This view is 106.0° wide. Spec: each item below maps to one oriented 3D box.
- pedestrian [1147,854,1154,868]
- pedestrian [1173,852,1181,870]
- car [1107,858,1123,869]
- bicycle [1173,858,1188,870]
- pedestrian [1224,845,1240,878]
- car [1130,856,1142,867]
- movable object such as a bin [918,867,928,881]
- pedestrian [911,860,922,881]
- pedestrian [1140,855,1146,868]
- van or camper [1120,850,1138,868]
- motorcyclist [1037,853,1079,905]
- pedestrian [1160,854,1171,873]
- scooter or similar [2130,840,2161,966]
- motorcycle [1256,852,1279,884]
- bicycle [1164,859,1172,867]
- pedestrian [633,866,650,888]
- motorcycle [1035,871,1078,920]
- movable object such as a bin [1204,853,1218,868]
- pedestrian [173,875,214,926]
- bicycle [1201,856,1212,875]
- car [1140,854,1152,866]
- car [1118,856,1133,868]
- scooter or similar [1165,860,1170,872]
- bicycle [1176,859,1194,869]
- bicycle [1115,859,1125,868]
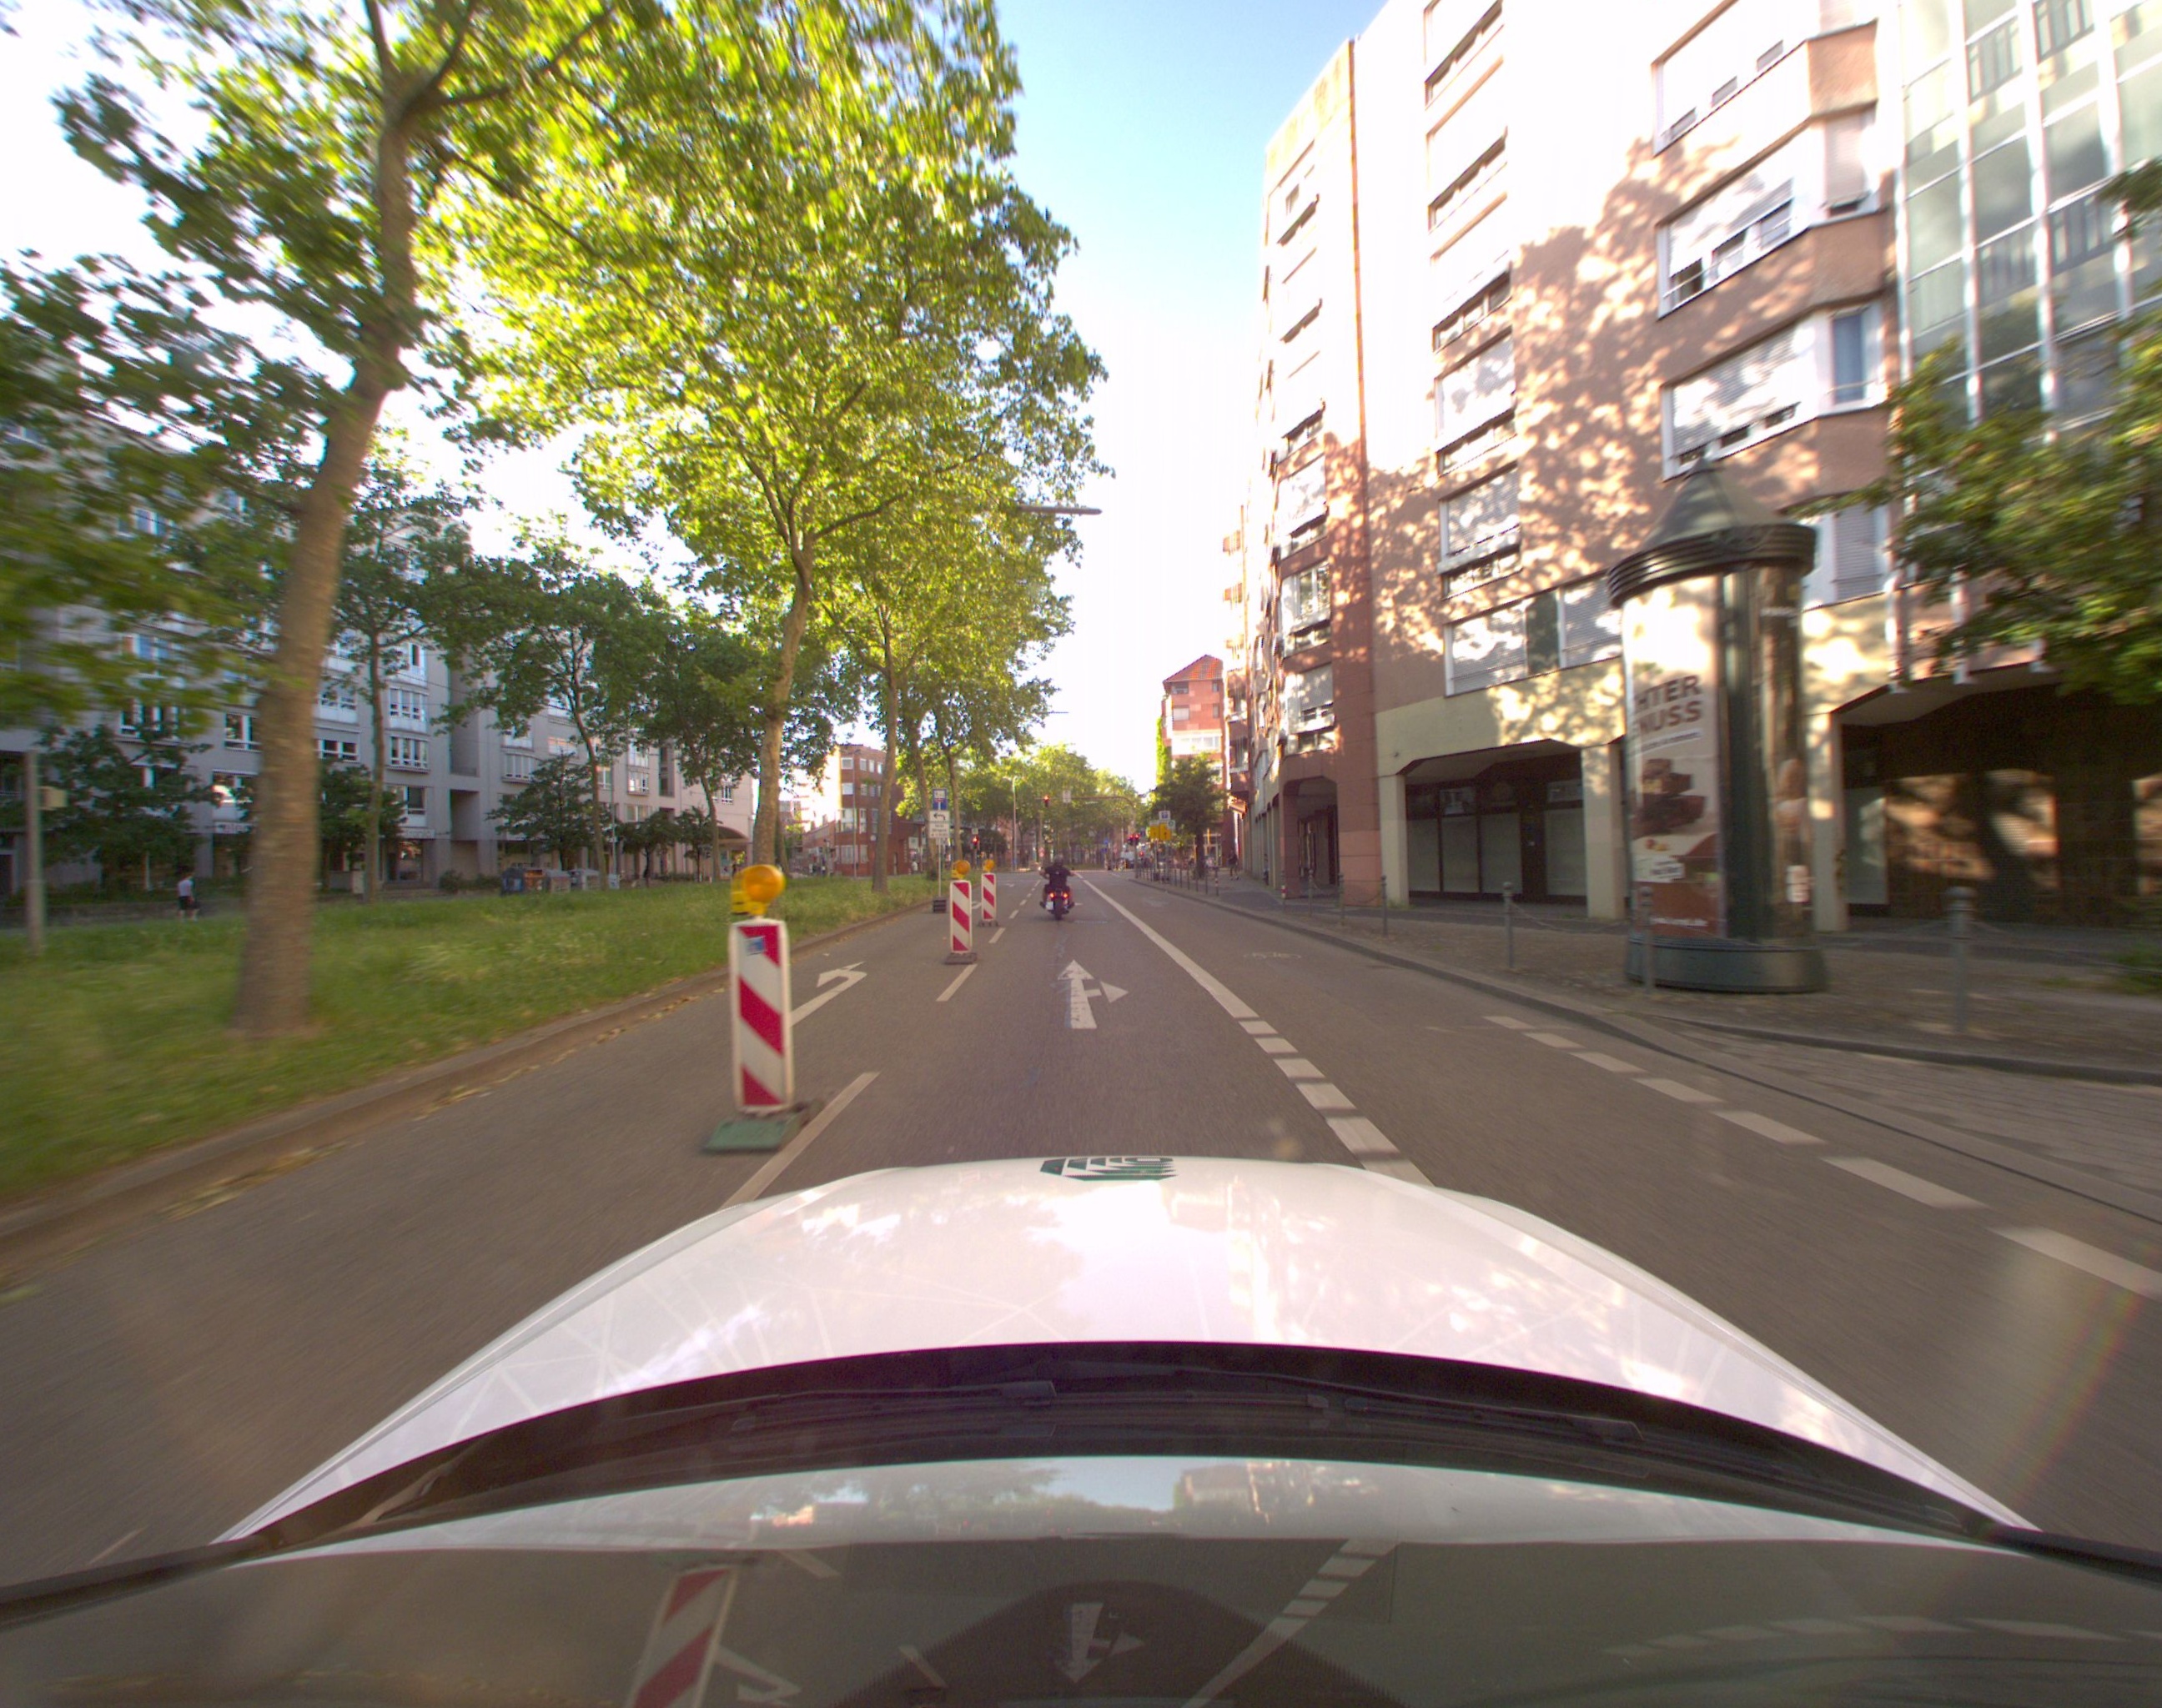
[{"bbox_3d":[8.679,0.927,101.700,0.697,1.733,0.768,-1,-1,2],"label":"pedestrian"},{"bbox_3d":[9.156,0.652,77.689,0.459,1.672,0.678,-1,-1,-9],"label":"pedestrian"},{"bbox_3d":[4.313,1.205,101.828,1.611,1.302,4.320,-2,0,7],"label":"car"},{"bbox_3d":[10.484,1.012,85.907,1.560,1.227,0.578,-2,-1,4],"label":"bicycle"},{"bbox_3d":[8.084,0.388,43.608,0.777,1.738,0.838,-2,0,7],"label":"pedestrian"},{"bbox_3d":[8.886,1.220,131.293,1.611,1.610,3.782,-2,0,7],"label":"car"},{"bbox_3d":[-11.440,1.457,59.080,0.507,0.953,0.541,-2,0,12],"label":"movable object such as a bin"},{"bbox_3d":[-11.888,1.167,58.901,0.614,1.503,0.536,-2,0,12],"label":"pedestrian"},{"bbox_3d":[7.768,0.985,101.797,0.641,1.578,0.748,-1,-1,2],"label":"pedestrian"},{"bbox_3d":[7.022,0.737,118.205,2.037,2.540,5.787,-2,0,9],"label":"van or camper"},{"bbox_3d":[-0.581,0.621,20.360,1.009,1.263,0.773,1,0,-2],"label":"motorcyclist"},{"bbox_3d":[8.074,0.881,77.916,0.788,1.763,0.605,-1,-1,-21],"label":"pedestrian"},{"bbox_3d":[10.907,0.463,7.491,0.486,1.216,1.440,-1,0,-21],"label":"scooter or similar"},{"bbox_3d":[8.172,0.594,35.809,0.487,1.372,2.089,-1,0,-1],"label":"motorcycle"},{"bbox_3d":[10.048,1.051,94.252,0.734,0.939,1.753,-2,0,3],"label":"bicycle"},{"bbox_3d":[-32.659,1.708,60.552,0.702,1.639,0.790,-2,0,10],"label":"pedestrian"},{"bbox_3d":[-0.608,1.007,20.346,1.015,1.097,2.006,-1,0,-2],"label":"motorcycle"},{"bbox_3d":[13.293,0.697,83.140,1.401,1.482,0.874,-2,-1,10],"label":"movable object such as a bin"},{"bbox_3d":[-31.501,1.631,28.911,0.726,1.740,0.648,-2,0,2],"label":"pedestrian"},{"bbox_3d":[8.410,0.752,54.639,0.617,1.225,1.933,-2,0,11],"label":"bicycle"},{"bbox_3d":[11.392,1.106,142.444,1.825,2.014,4.398,-2,0,8],"label":"car"},{"bbox_3d":[6.142,1.067,111.799,1.611,1.619,4.495,-2,0,8],"label":"car"},{"bbox_3d":[8.256,1.153,77.717,0.392,1.158,1.251,-2,0,5],"label":"scooter or similar"},{"bbox_3d":[11.370,1.071,89.208,1.730,1.053,0.744,-2,0,26],"label":"bicycle"},{"bbox_3d":[4.570,1.085,94.747,0.737,1.053,1.746,-1,0,-10],"label":"bicycle"}]
